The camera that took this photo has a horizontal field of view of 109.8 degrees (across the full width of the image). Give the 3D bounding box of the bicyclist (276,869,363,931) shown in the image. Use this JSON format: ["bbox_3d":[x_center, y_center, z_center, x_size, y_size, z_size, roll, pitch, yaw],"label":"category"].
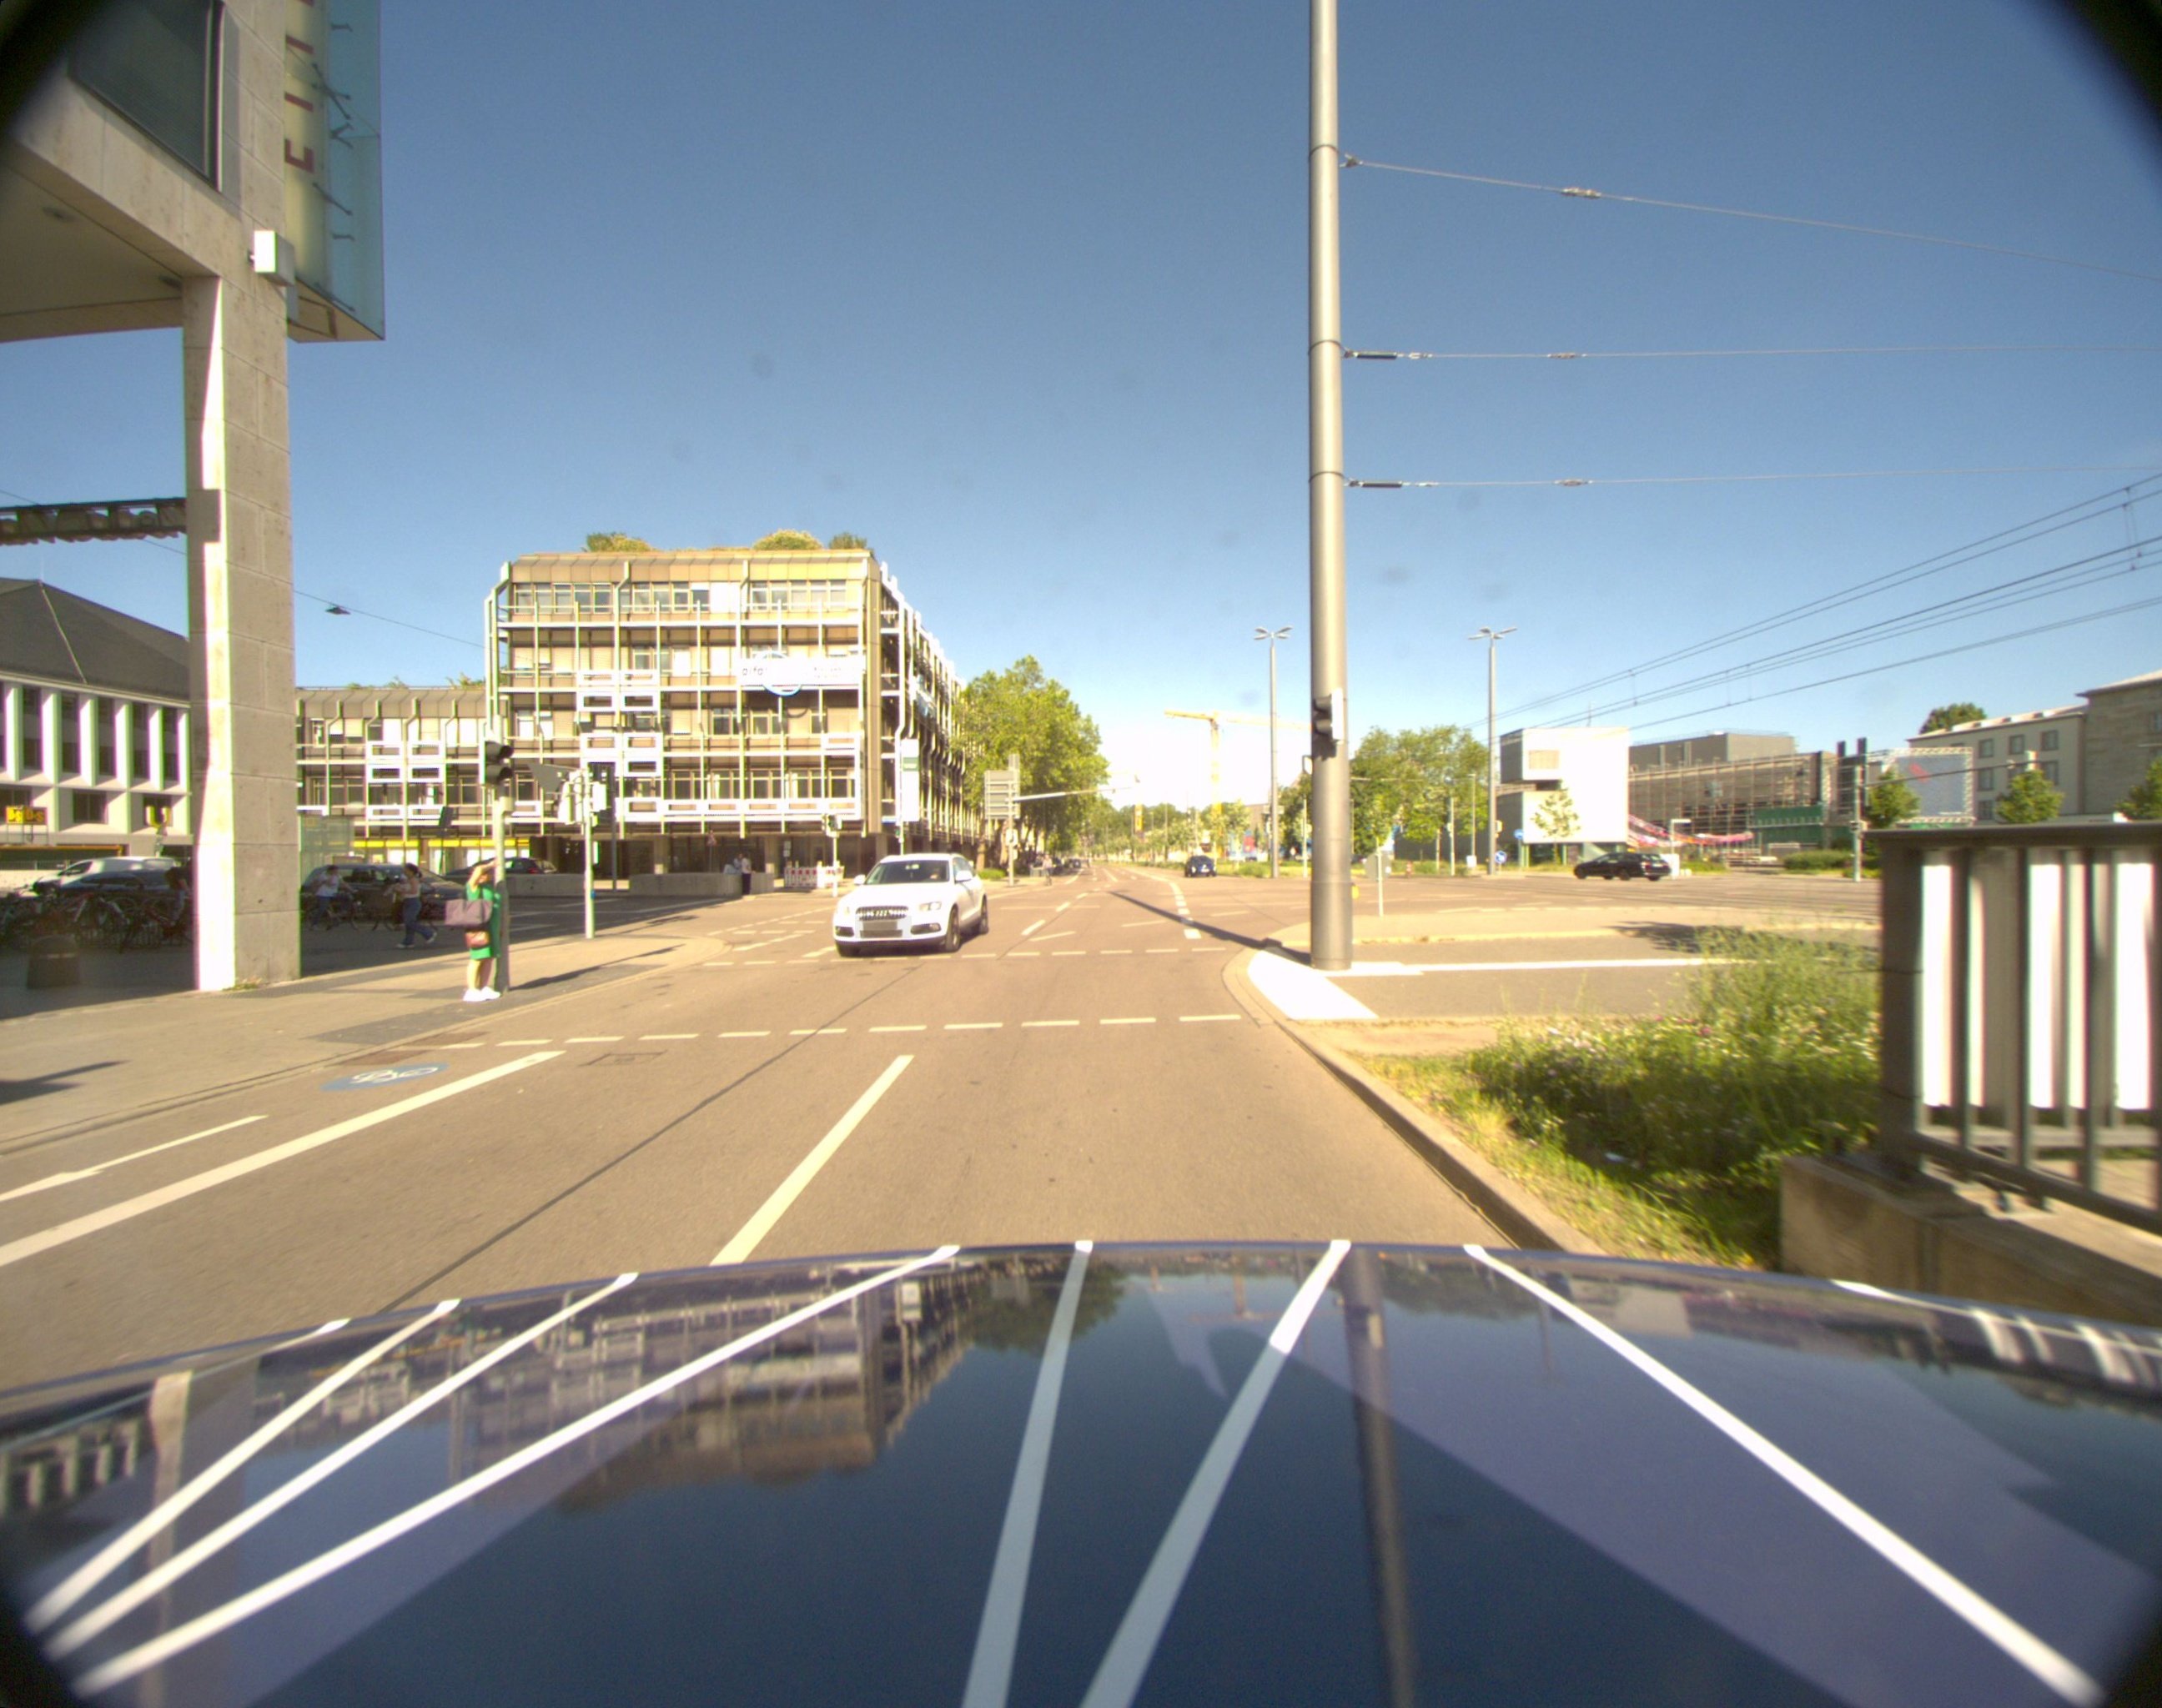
[{"bbox_3d":[-17.960,1.074,17.944,0.935,1.388,1.077,-1,1,4],"label":"bicyclist"}]

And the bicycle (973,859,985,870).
[{"bbox_3d":[-9.856,1.013,73.328,0.883,0.979,2.051,-1,0,1],"label":"bicycle"}]

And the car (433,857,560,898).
[{"bbox_3d":[-26.509,1.052,34.563,4.408,1.689,1.790,-1,0,2],"label":"car"}]

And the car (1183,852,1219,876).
[{"bbox_3d":[8.552,0.681,54.470,1.775,1.579,4.087,-3,0,-2],"label":"car"}]

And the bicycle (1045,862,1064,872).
[{"bbox_3d":[-2.622,1.248,74.909,1.848,0.954,0.711,1,0,-4],"label":"bicycle"}]

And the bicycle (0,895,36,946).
[{"bbox_3d":[-24.071,1.473,15.302,1.068,1.087,3.498,-1,0,3],"label":"bicycle"}]

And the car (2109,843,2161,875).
[{"bbox_3d":[54.366,0.231,37.630,3.995,1.530,1.904,-1,0,6],"label":"car"}]

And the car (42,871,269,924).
[{"bbox_3d":[-27.446,1.264,22.637,4.615,1.413,1.861,0,2,3],"label":"car"}]

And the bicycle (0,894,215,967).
[{"bbox_3d":[-19.323,1.429,14.680,1.068,1.087,3.498,-1,0,3],"label":"bicycle"}]

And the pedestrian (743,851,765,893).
[{"bbox_3d":[-12.862,0.709,29.868,0.662,1.603,0.526,1,1,-8],"label":"pedestrian"}]

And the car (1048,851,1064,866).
[{"bbox_3d":[-3.140,0.603,95.506,1.752,1.810,4.337,0,0,1],"label":"car"}]

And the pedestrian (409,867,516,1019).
[{"bbox_3d":[-7.232,1.010,8.912,0.658,1.692,0.698,2,1,-1],"label":"pedestrian"}]

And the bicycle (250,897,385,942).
[{"bbox_3d":[-17.993,1.535,17.946,2.198,0.938,1.072,-1,0,4],"label":"bicycle"}]

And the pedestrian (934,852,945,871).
[{"bbox_3d":[-11.604,0.626,62.402,0.667,1.591,0.728,1,1,1],"label":"pedestrian"}]

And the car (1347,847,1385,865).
[{"bbox_3d":[27.756,0.203,74.062,1.998,1.697,4.560,-1,0,0],"label":"car"}]

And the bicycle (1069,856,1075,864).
[{"bbox_3d":[-1.281,0.806,110.083,0.845,1.123,2.553,-1,0,1],"label":"bicycle"}]

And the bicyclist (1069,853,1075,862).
[{"bbox_3d":[-1.278,0.494,110.083,0.830,1.380,0.904,-1,0,1],"label":"bicyclist"}]

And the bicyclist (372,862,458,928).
[{"bbox_3d":[-15.531,0.945,17.756,1.024,1.467,1.072,-1,1,5],"label":"bicyclist"}]

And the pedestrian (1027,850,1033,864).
[{"bbox_3d":[-7.511,0.458,111.921,0.741,2.002,0.625,-1,0,-3],"label":"pedestrian"}]

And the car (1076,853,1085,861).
[{"bbox_3d":[-0.101,0.623,169.534,1.999,1.597,3.896,-1,0,-1],"label":"car"}]

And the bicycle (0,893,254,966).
[{"bbox_3d":[-18.150,1.385,14.633,1.068,1.087,2.992,-1,0,3],"label":"bicycle"}]

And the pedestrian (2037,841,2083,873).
[{"bbox_3d":[53.186,0.189,41.307,1.195,1.675,0.948,-2,-1,1],"label":"pedestrian"}]

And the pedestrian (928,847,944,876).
[{"bbox_3d":[-10.338,0.523,54.182,0.949,2.002,1.079,-1,0,-7],"label":"pedestrian"}]

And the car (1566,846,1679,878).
[{"bbox_3d":[28.273,0.408,39.893,2.000,1.552,4.826,-1,0,-9],"label":"car"}]

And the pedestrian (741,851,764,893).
[{"bbox_3d":[-12.650,0.699,29.246,0.662,1.603,0.526,1,1,-8],"label":"pedestrian"}]

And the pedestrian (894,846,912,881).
[{"bbox_3d":[-10.630,0.556,45.393,0.950,2.002,1.078,-1,1,-10],"label":"pedestrian"}]

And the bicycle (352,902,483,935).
[{"bbox_3d":[-15.483,1.498,17.772,2.198,0.667,1.072,-1,0,4],"label":"bicycle"}]

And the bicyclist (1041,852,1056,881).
[{"bbox_3d":[-1.920,0.713,45.131,0.711,1.678,0.852,-3,0,1],"label":"bicyclist"}]

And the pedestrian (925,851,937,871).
[{"bbox_3d":[-12.311,0.570,62.419,0.667,1.591,1.009,1,0,2],"label":"pedestrian"}]

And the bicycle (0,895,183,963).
[{"bbox_3d":[-20.476,1.469,15.065,1.068,1.087,3.498,-1,0,3],"label":"bicycle"}]

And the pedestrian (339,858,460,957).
[{"bbox_3d":[-13.179,0.997,14.761,0.969,1.791,1.523,1,1,1],"label":"pedestrian"}]

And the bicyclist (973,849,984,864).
[{"bbox_3d":[-9.868,0.220,73.281,0.883,1.468,0.883,-1,0,1],"label":"bicyclist"}]

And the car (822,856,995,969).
[{"bbox_3d":[-2.845,0.888,13.633,1.824,1.604,4.413,-2,0,3],"label":"car"}]

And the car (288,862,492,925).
[{"bbox_3d":[-19.835,1.105,21.933,4.195,1.603,1.861,-1,2,3],"label":"car"}]

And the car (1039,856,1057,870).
[{"bbox_3d":[-3.574,0.918,83.064,1.752,1.481,4.560,0,0,1],"label":"car"}]

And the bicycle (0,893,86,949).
[{"bbox_3d":[-22.928,1.433,15.294,1.068,1.087,3.498,-1,0,3],"label":"bicycle"}]

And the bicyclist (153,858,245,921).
[{"bbox_3d":[-20.984,0.824,18.103,0.935,1.425,1.041,-1,1,4],"label":"bicyclist"}]

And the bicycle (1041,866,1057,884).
[{"bbox_3d":[-1.887,1.241,45.166,0.711,0.987,1.924,-3,0,2],"label":"bicycle"}]

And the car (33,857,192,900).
[{"bbox_3d":[-42.561,1.034,33.491,4.163,1.723,1.789,-1,0,-10],"label":"car"}]

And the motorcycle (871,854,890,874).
[{"bbox_3d":[-14.940,0.741,56.717,0.825,1.433,2.122,-1,0,1],"label":"motorcycle"}]

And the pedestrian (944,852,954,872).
[{"bbox_3d":[-10.855,0.678,62.372,0.667,1.591,0.728,1,1,1],"label":"pedestrian"}]

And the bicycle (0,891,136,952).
[{"bbox_3d":[-21.692,1.382,15.208,1.068,1.087,3.498,-1,0,3],"label":"bicycle"}]

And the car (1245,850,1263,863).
[{"bbox_3d":[26.655,0.327,117.083,1.875,1.944,4.000,-1,0,1],"label":"car"}]

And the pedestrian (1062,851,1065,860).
[{"bbox_3d":[-3.711,0.247,158.957,0.591,1.830,0.569,-1,0,0],"label":"pedestrian"}]

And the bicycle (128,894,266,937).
[{"bbox_3d":[-21.024,1.445,18.106,2.198,0.927,1.030,-1,0,4],"label":"bicycle"}]
